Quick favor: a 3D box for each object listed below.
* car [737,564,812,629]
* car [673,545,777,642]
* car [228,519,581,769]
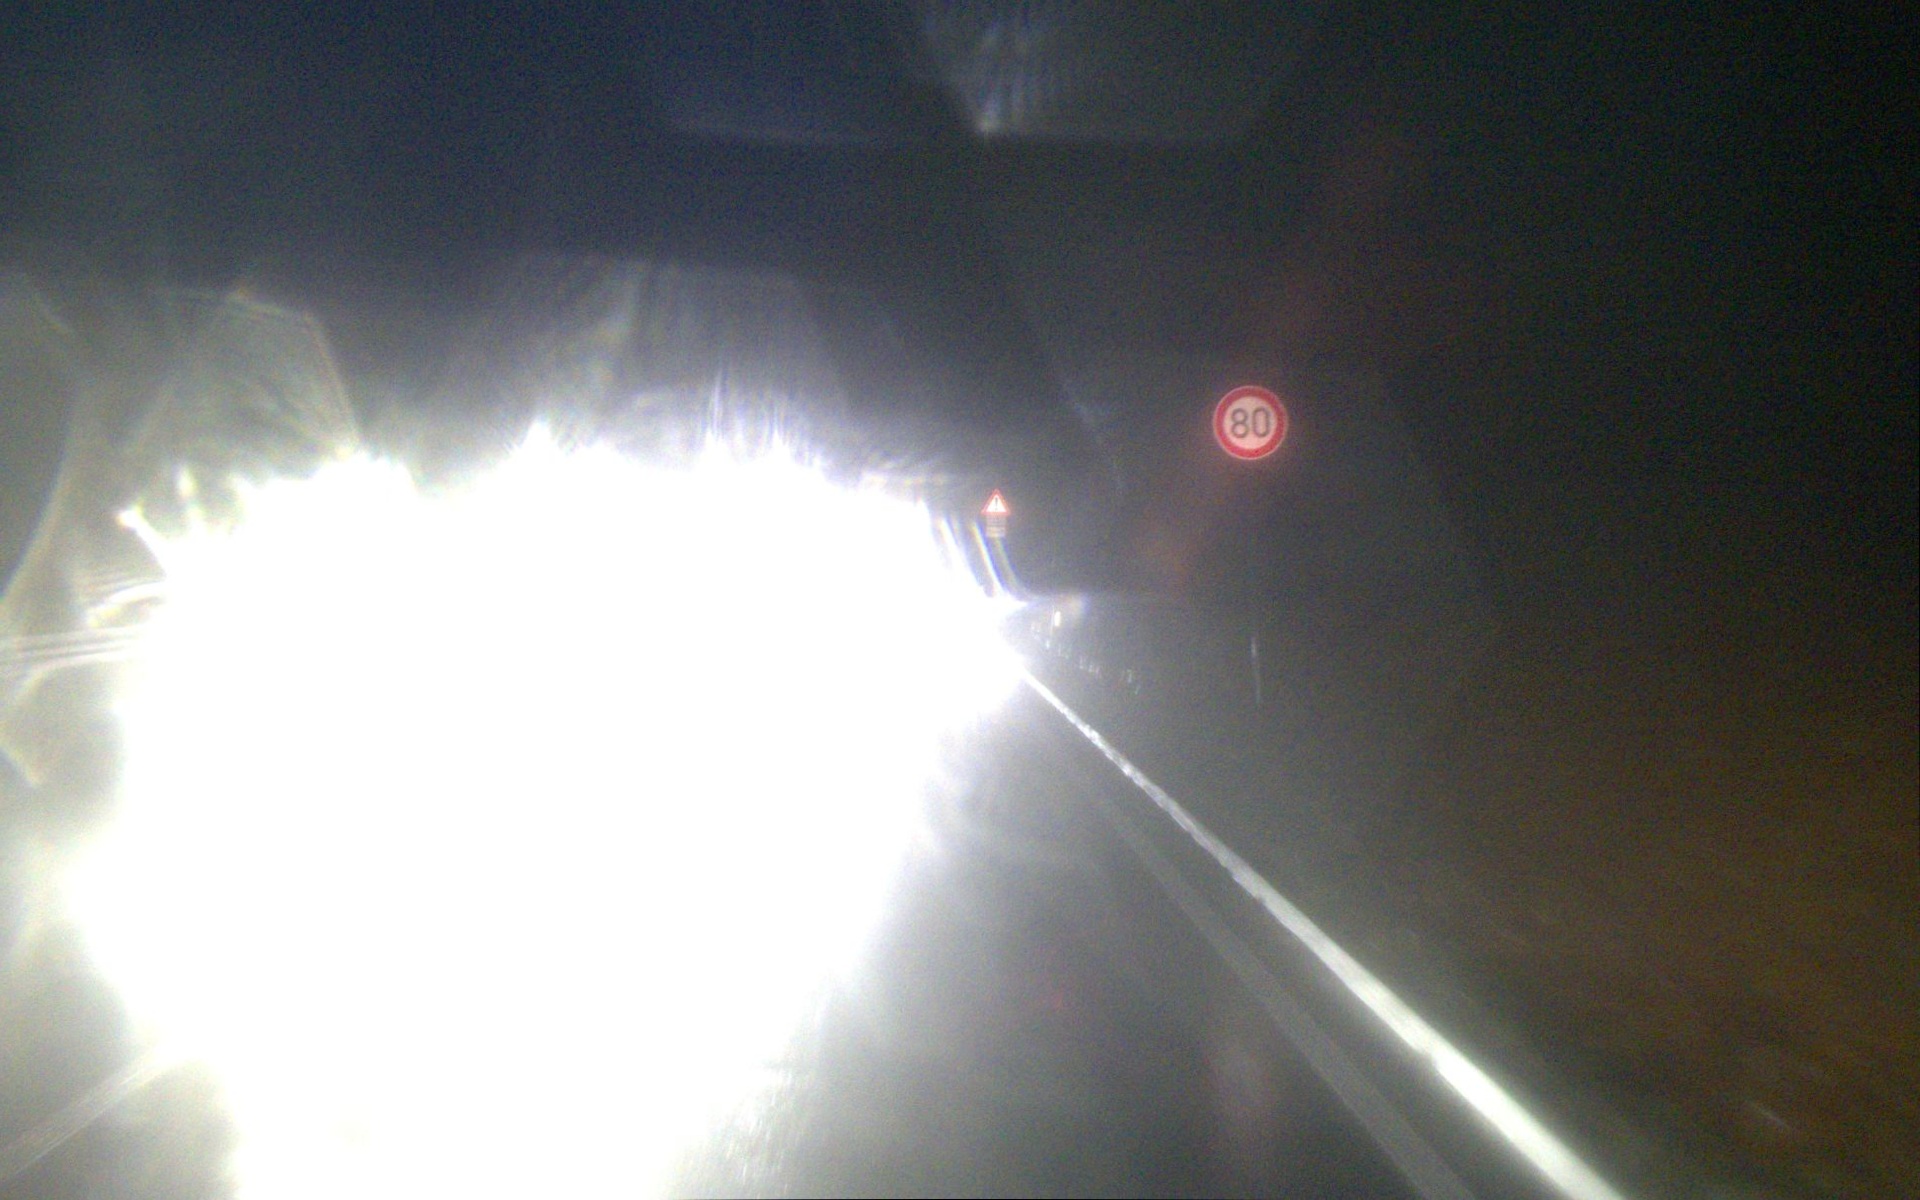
[{"bbox_3d":[-5.234,-0.093,97.339,1.779,1.696,3.998,-3,0,0],"label":"car"},{"bbox_3d":[-4.880,-0.131,71.815,1.779,1.873,3.998,-3,0,0],"label":"car"},{"bbox_3d":[-4.027,0.310,25.572,2.039,1.602,3.999,-3,0,-2],"label":"car"}]
